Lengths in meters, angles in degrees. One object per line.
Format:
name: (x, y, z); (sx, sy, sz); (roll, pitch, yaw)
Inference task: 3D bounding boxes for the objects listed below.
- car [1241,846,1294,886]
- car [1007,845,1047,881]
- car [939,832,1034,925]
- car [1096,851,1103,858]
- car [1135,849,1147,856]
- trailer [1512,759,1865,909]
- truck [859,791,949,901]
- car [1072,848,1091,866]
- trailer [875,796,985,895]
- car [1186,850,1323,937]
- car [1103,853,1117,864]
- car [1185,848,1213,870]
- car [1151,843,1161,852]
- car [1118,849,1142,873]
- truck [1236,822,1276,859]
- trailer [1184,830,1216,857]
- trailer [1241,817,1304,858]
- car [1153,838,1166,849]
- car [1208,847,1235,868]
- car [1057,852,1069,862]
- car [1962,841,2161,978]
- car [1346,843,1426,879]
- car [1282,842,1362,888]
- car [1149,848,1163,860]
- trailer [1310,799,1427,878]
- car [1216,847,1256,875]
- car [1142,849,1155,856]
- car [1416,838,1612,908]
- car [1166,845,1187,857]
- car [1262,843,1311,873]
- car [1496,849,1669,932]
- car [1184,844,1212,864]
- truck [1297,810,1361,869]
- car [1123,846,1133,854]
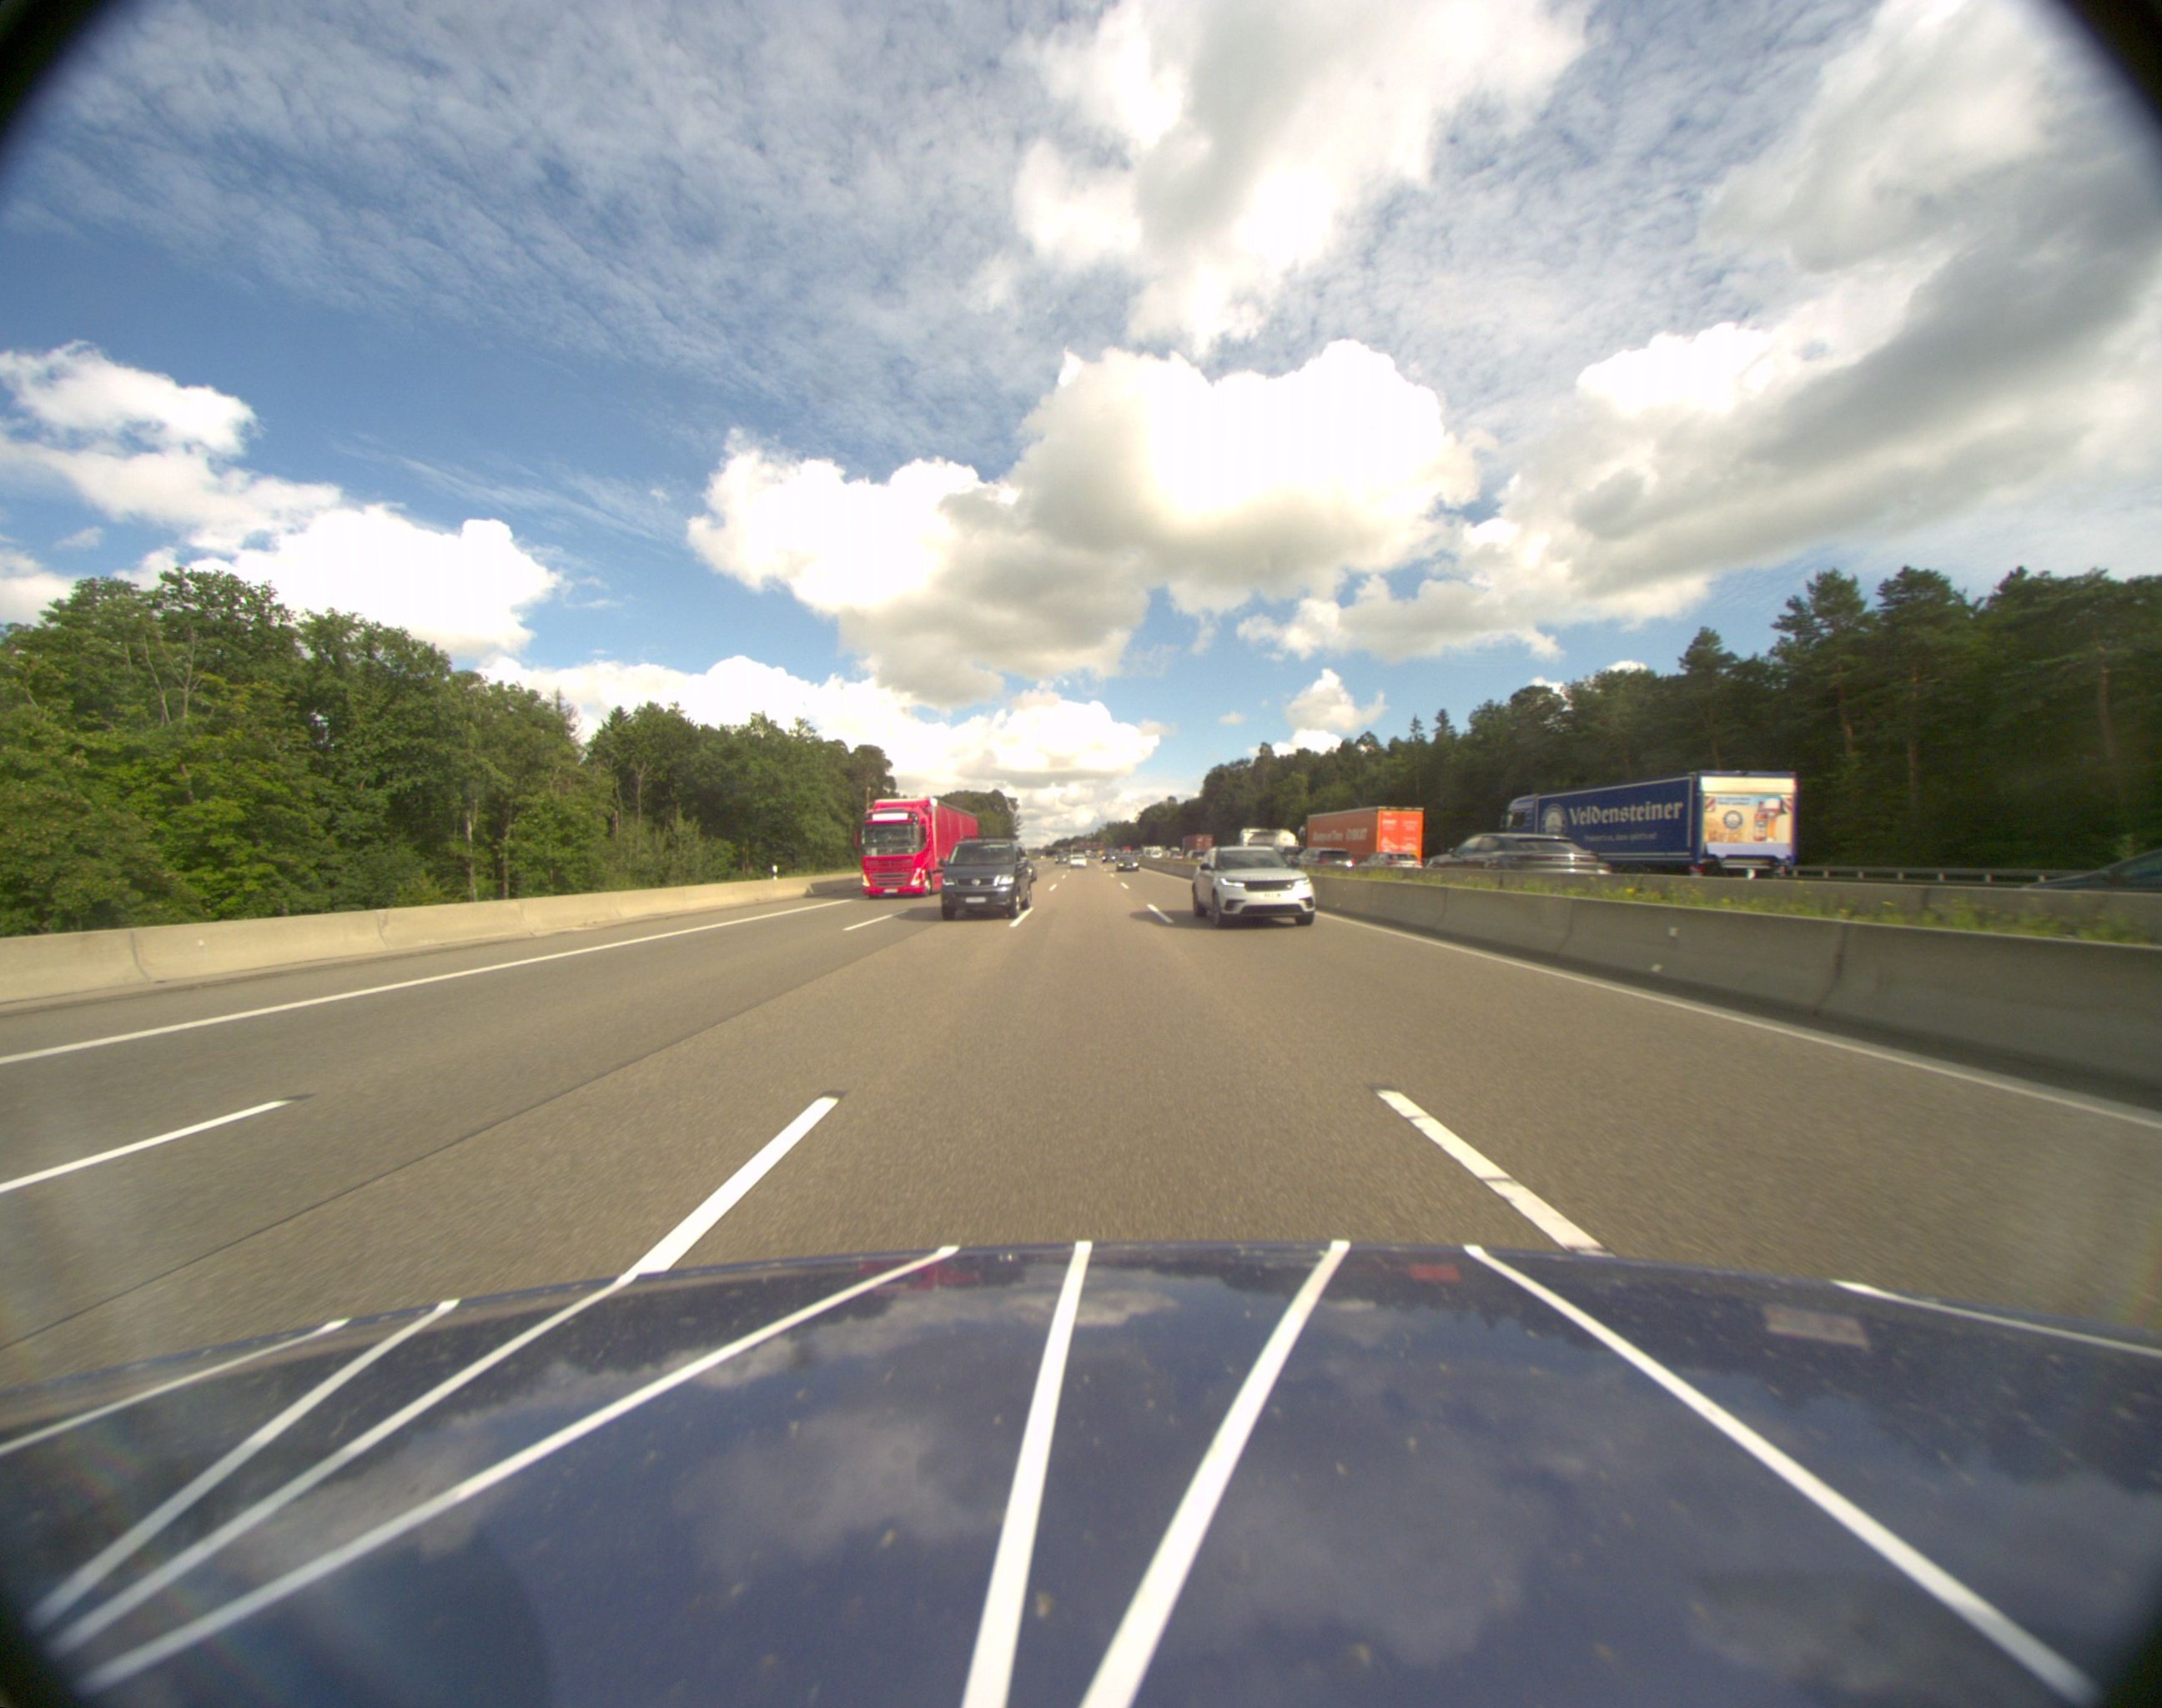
car: (10.181, 0.578, 41.800); (1.747, 2.002, 4.682); (-2, 1, 1)
car: (-3.204, 0.520, 46.002); (1.998, 2.002, 4.000); (-1, 0, 2)
car: (-2.373, 0.596, 20.373); (1.927, 2.153, 4.961); (-1, 0, -1)
car: (5.019, 0.089, 203.841); (1.804, 1.783, 3.758); (-1, 0, 1)
car: (10.972, -0.265, 139.010); (1.762, 1.271, 4.000); (-1, 0, 0)
trailer: (17.862, -0.515, 23.814); (2.895, 3.637, 10.219); (-1, 0, 0)
truck: (-7.271, -0.323, 31.787); (2.532, 4.178, 4.653); (-1, 1, 0)
car: (0.071, 0.316, 88.007); (1.998, 2.002, 4.000); (-2, 0, 2)
trailer: (-7.221, -0.405, 39.022); (2.531, 4.096, 14.376); (-1, 0, 1)
car: (3.619, 0.751, 16.882); (1.904, 1.597, 5.105); (-2, 0, 1)
car: (4.457, 0.632, 116.148); (1.911, 1.582, 4.287); (-2, 1, 0)
car: (10.743, 0.405, 69.383); (1.821, 1.871, 4.903); (-1, 0, 1)
car: (18.368, -1.636, 185.898); (1.998, 2.002, 4.000); (-1, 1, 0)
car: (4.193, 0.603, 65.571); (1.919, 2.002, 4.000); (-1, 0, 1)
truck: (18.398, -1.420, 80.300); (2.964, 3.725, 5.108); (-1, 1, 0)
trailer: (18.555, -1.649, 118.932); (2.957, 3.961, 12.889); (-2, 1, 0)
trailer: (18.278, -1.553, 73.503); (2.957, 3.478, 12.230); (-2, 1, 0)
car: (15.064, -2.017, 145.697); (1.998, 2.002, 3.999); (-2, 1, 0)
car: (14.349, 0.334, 78.014); (1.821, 2.094, 4.478); (-1, 1, -1)
car: (-2.924, 0.468, 121.492); (1.911, 1.582, 4.286); (-2, 1, -2)
car: (14.266, 0.681, 9.372); (1.837, 1.650, 4.271); (-1, 0, 0)
car: (13.889, 0.275, 34.921); (1.728, 1.474, 4.903); (-1, 0, 0)
car: (9.974, 0.426, 31.825); (1.821, 1.753, 4.630); (-1, 0, 0)
car: (10.510, -0.002, 106.639); (1.515, 1.552, 3.999); (-1, 0, -1)
trailer: (18.161, -0.983, 49.273); (2.646, 4.295, 13.175); (-2, 1, 1)
car: (10.995, 0.484, 54.245); (1.821, 1.871, 4.903); (-1, 0, 0)
car: (10.817, -0.291, 121.920); (1.575, 0.992, 4.000); (-1, 0, 0)
car: (9.944, 0.376, 17.987); (1.837, 1.379, 4.903); (-1, 0, 0)
car: (10.226, -0.335, 81.708); (1.599, 1.167, 4.355); (-1, 0, -1)
car: (14.229, 0.219, 52.881); (1.998, 1.949, 4.990); (-2, 1, 0)
car: (14.056, 0.917, 21.671); (1.837, 2.048, 4.636); (-2, 0, 0)
car: (10.660, 0.008, 69.336); (1.821, 1.735, 4.903); (-1, 0, 1)
truck: (18.257, -1.011, 56.434); (2.620, 4.047, 6.718); (-1, 1, 1)
car: (11.224, -1.030, 180.714); (1.998, 1.838, 4.000); (-1, 1, 0)
